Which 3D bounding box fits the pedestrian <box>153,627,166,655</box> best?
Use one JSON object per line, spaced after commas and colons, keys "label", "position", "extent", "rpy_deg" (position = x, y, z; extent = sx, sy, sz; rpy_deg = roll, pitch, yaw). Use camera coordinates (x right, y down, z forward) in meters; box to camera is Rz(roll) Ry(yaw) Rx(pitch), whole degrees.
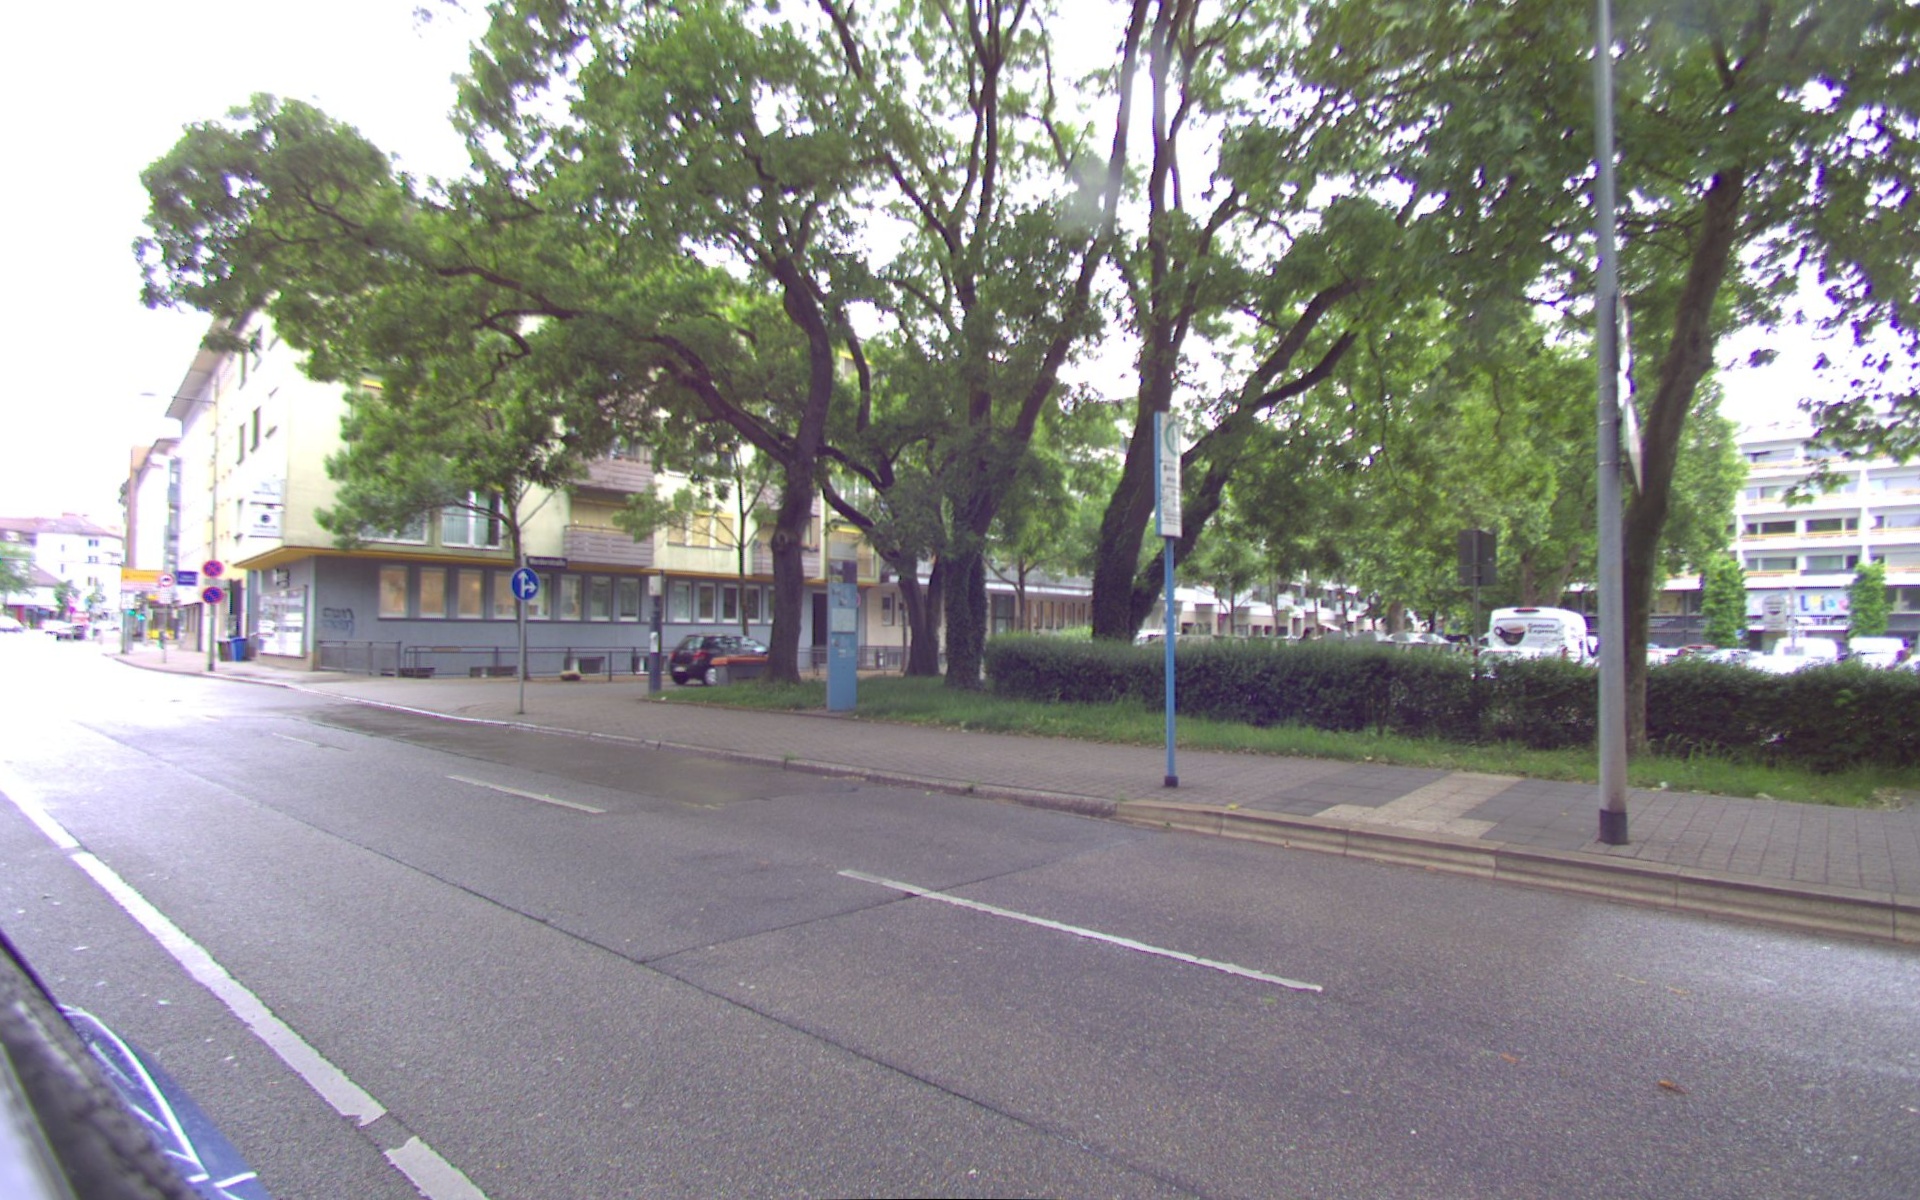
{"label": "pedestrian", "position": [-54.233, 2.755, 68.539], "extent": [0.586, 1.858, 0.565], "rpy_deg": [3, -4, -42]}

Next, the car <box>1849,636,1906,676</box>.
{"label": "car", "position": [40.262, 2.420, 44.476], "extent": [1.639, 1.536, 3.161], "rpy_deg": [-1, 0, 38]}

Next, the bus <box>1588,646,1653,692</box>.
{"label": "bus", "position": [24.155, 2.487, 36.971], "extent": [1.604, 1.551, 3.385], "rpy_deg": [-1, -3, 40]}

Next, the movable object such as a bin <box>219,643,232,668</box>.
{"label": "movable object such as a bin", "position": [-30.247, 2.274, 41.677], "extent": [0.333, 1.037, 0.354], "rpy_deg": [3, -4, -42]}

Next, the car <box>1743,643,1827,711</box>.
{"label": "car", "position": [19.237, 1.756, 23.562], "extent": [1.391, 1.446, 3.227], "rpy_deg": [-2, -4, 41]}

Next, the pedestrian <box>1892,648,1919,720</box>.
{"label": "pedestrian", "position": [16.623, 1.462, 17.643], "extent": [0.465, 1.222, 0.433], "rpy_deg": [-1, 0, 34]}

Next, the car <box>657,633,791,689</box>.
{"label": "car", "position": [-6.800, 1.774, 29.408], "extent": [1.571, 1.500, 3.519], "rpy_deg": [-1, -4, 39]}

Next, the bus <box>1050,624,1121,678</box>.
{"label": "bus", "position": [4.837, 1.961, 38.685], "extent": [1.703, 1.939, 3.697], "rpy_deg": [0, -3, 24]}

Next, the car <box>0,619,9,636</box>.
{"label": "car", "position": [-107.029, 3.039, 112.287], "extent": [4.002, 1.866, 1.971], "rpy_deg": [-2, -4, 45]}

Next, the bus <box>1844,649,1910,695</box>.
{"label": "bus", "position": [33.156, 2.569, 36.655], "extent": [1.604, 1.551, 3.385], "rpy_deg": [-1, -3, 40]}

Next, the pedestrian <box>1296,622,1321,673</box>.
{"label": "pedestrian", "position": [8.583, 1.155, 24.920], "extent": [0.484, 1.222, 0.433], "rpy_deg": [-1, 0, 34]}

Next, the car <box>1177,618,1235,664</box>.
{"label": "car", "position": [11.643, 1.947, 47.712], "extent": [1.988, 2.029, 3.967], "rpy_deg": [0, -3, 24]}

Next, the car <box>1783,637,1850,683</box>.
{"label": "car", "position": [28.173, 1.959, 33.350], "extent": [1.604, 1.439, 3.275], "rpy_deg": [-1, -3, 40]}

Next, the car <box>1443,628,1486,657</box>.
{"label": "car", "position": [27.246, 2.284, 54.658], "extent": [1.428, 1.439, 2.926], "rpy_deg": [-2, -1, 40]}

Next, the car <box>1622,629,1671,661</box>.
{"label": "car", "position": [32.851, 2.145, 48.398], "extent": [1.604, 1.439, 3.275], "rpy_deg": [-1, -3, 40]}

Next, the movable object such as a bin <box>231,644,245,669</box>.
{"label": "movable object such as a bin", "position": [-29.845, 2.333, 41.845], "extent": [0.409, 1.037, 0.354], "rpy_deg": [3, -4, -42]}

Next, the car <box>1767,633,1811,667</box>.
{"label": "car", "position": [41.984, 2.495, 51.299], "extent": [1.639, 1.536, 3.161], "rpy_deg": [-1, 0, 38]}

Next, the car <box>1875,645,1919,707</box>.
{"label": "car", "position": [23.416, 1.853, 24.805], "extent": [1.391, 1.446, 3.227], "rpy_deg": [-2, -4, 41]}

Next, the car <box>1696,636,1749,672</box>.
{"label": "car", "position": [35.719, 2.479, 47.362], "extent": [1.837, 1.435, 3.780], "rpy_deg": [-1, 0, 39]}

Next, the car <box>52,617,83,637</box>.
{"label": "car", "position": [-82.249, 2.518, 93.246], "extent": [4.002, 1.730, 1.863], "rpy_deg": [-2, -4, 45]}

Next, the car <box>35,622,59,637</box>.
{"label": "car", "position": [-104.480, 3.417, 115.801], "extent": [4.002, 1.670, 1.842], "rpy_deg": [-2, -4, 45]}

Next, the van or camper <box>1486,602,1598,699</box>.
{"label": "van or camper", "position": [16.846, 1.439, 29.209], "extent": [2.097, 2.556, 4.367], "rpy_deg": [-1, -3, 40]}

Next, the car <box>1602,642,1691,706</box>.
{"label": "car", "position": [16.732, 1.763, 24.617], "extent": [1.391, 1.446, 3.227], "rpy_deg": [-2, -4, 41]}
